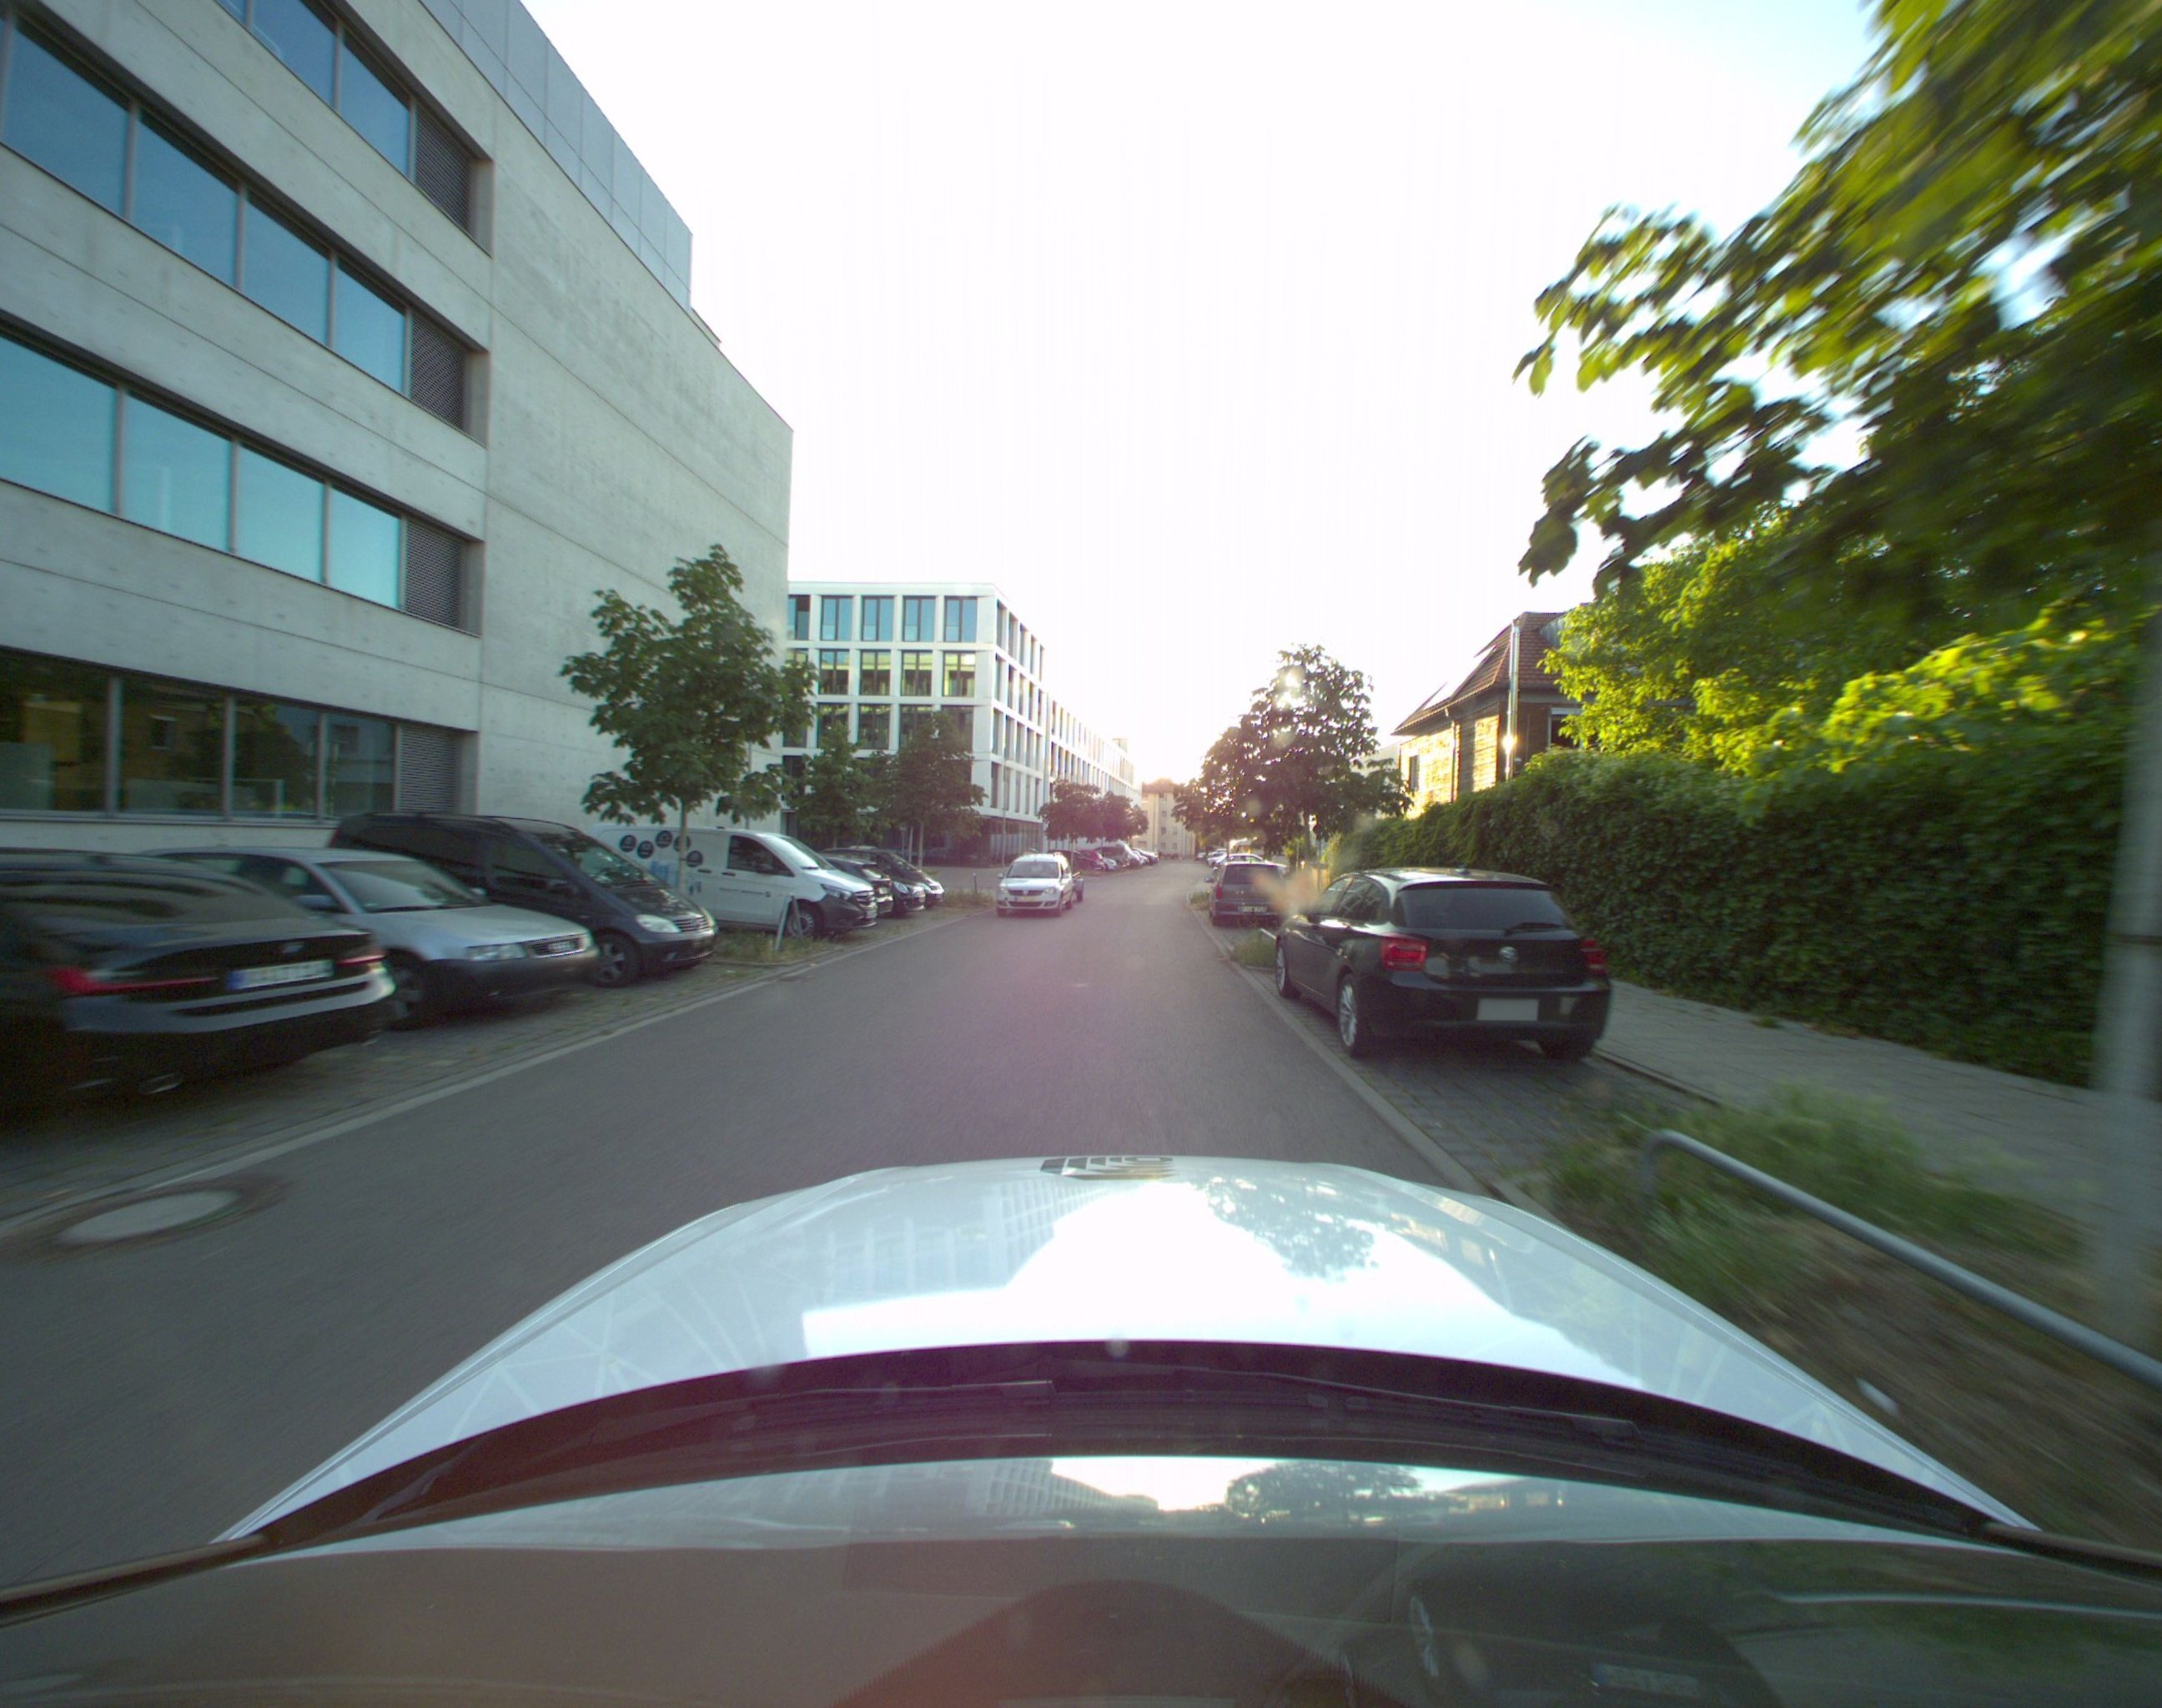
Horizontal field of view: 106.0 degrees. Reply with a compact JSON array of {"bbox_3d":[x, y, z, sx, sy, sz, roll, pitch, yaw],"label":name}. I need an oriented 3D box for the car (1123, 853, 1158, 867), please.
[{"bbox_3d":[6.370,0.612,86.551,3.537,1.479,1.462,0,1,10],"label":"car"}]

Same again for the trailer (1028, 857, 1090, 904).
[{"bbox_3d":[-0.680,0.857,27.505,1.698,1.348,3.492,2,1,5],"label":"trailer"}]

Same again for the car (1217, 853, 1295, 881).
[{"bbox_3d":[9.590,0.684,44.907,4.030,1.479,1.770,0,1,5],"label":"car"}]

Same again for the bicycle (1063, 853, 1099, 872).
[{"bbox_3d":[0.005,0.524,51.444,2.165,1.174,0.813,1,0,9],"label":"bicycle"}]

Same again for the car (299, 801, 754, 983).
[{"bbox_3d":[-6.505,0.417,9.886,4.231,1.742,1.725,4,0,1],"label":"car"}]

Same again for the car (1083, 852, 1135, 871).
[{"bbox_3d":[2.301,0.600,66.458,4.029,1.524,1.739,0,1,6],"label":"car"}]

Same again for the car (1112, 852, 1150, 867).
[{"bbox_3d":[4.960,0.537,80.512,3.537,1.479,1.462,0,1,10],"label":"car"}]

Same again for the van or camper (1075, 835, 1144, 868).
[{"bbox_3d":[2.424,-0.237,68.756,5.418,2.483,1.780,3,1,10],"label":"van or camper"}]

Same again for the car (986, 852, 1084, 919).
[{"bbox_3d":[-1.161,0.787,22.893,1.942,1.686,4.731,0,0,6],"label":"car"}]

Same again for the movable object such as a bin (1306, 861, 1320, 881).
[{"bbox_3d":[12.219,0.912,42.964,0.575,1.010,0.690,1,1,5],"label":"movable object such as a bin"}]

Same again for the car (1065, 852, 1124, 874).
[{"bbox_3d":[0.979,0.642,58.904,4.024,1.479,1.773,0,1,10],"label":"car"}]

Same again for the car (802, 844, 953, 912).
[{"bbox_3d":[-5.601,0.638,22.676,3.614,1.577,1.665,4,0,8],"label":"car"}]

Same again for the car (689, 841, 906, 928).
[{"bbox_3d":[-5.966,0.619,17.426,3.972,1.522,1.606,4,0,1],"label":"car"}]

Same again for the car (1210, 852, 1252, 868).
[{"bbox_3d":[14.893,0.605,80.970,4.025,1.479,1.773,0,1,10],"label":"car"}]

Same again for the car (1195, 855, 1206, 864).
[{"bbox_3d":[22.369,1.068,151.940,1.939,1.585,3.649,1,0,9],"label":"car"}]

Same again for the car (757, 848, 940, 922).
[{"bbox_3d":[-5.591,0.721,19.877,3.869,1.488,1.653,3,0,3],"label":"car"}]

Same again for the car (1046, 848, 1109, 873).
[{"bbox_3d":[-0.226,0.424,56.493,4.025,1.479,1.773,3,0,10],"label":"car"}]

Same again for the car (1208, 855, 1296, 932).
[{"bbox_3d":[3.972,0.824,19.525,1.714,1.580,4.608,1,0,8],"label":"car"}]

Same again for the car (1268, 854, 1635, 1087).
[{"bbox_3d":[2.933,0.769,7.498,1.685,1.509,4.197,1,0,3],"label":"car"}]

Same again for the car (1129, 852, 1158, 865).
[{"bbox_3d":[6.856,0.455,88.964,2.996,1.421,1.462,0,1,10],"label":"car"}]

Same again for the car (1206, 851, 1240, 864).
[{"bbox_3d":[17.603,0.415,101.059,4.030,1.479,1.770,0,1,5],"label":"car"}]

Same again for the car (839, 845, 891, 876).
[{"bbox_3d":[-11.944,0.341,45.192,1.715,1.485,3.555,1,3,3],"label":"car"}]

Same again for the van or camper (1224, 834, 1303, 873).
[{"bbox_3d":[13.560,-0.068,60.812,5.581,2.789,2.434,0,1,6],"label":"van or camper"}]

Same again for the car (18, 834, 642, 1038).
[{"bbox_3d":[-6.657,0.670,7.559,4.128,1.404,1.725,4,0,1],"label":"car"}]

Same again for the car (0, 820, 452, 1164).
[{"bbox_3d":[-6.649,0.579,4.920,4.376,1.499,1.766,4,0,5],"label":"car"}]

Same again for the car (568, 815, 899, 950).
[{"bbox_3d":[-6.126,0.482,14.757,5.055,1.946,1.890,4,0,2],"label":"car"}]

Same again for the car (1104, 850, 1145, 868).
[{"bbox_3d":[3.947,0.446,73.452,3.537,1.652,1.462,0,1,10],"label":"car"}]

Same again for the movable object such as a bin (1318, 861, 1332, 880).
[{"bbox_3d":[12.974,0.883,43.237,0.575,0.958,0.690,1,1,5],"label":"movable object such as a bin"}]

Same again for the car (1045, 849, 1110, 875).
[{"bbox_3d":[-0.204,0.510,53.429,4.028,1.478,1.772,3,2,7],"label":"car"}]

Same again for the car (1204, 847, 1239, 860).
[{"bbox_3d":[17.968,-0.078,104.612,4.321,1.644,1.819,0,1,5],"label":"car"}]

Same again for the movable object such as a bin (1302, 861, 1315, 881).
[{"bbox_3d":[12.218,0.898,43.760,0.575,1.010,0.690,1,1,5],"label":"movable object such as a bin"}]

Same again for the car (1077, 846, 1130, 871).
[{"bbox_3d":[1.777,0.358,63.775,4.029,1.908,1.739,0,1,6],"label":"car"}]
